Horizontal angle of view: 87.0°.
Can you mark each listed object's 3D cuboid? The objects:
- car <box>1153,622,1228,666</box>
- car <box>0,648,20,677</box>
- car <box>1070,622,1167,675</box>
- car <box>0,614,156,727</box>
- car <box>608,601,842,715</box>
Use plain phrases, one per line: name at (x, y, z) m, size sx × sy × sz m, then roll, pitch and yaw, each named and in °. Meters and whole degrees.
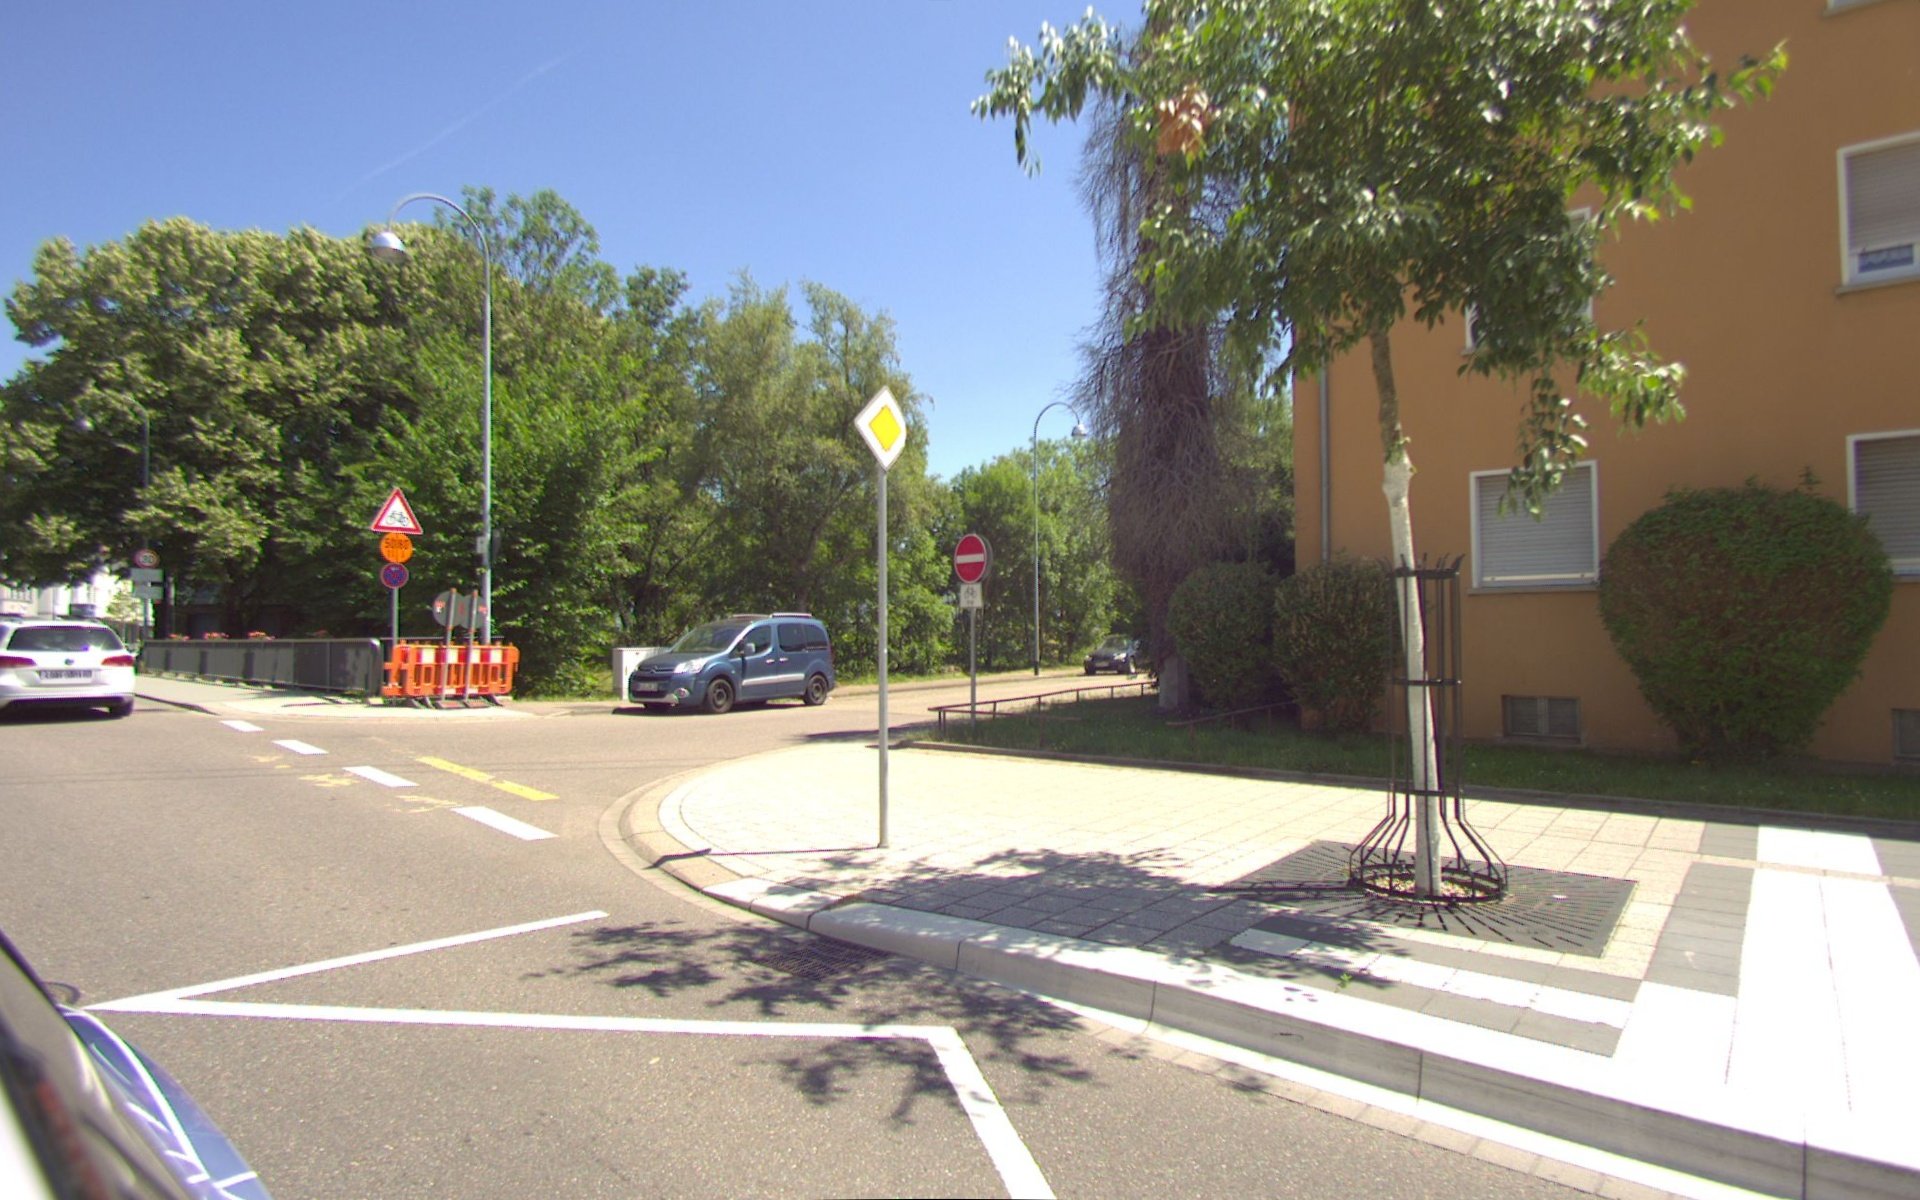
car at (10.137, 1.918, 44.316) m, size 1.992 × 1.815 × 4.392 m, roll -1°, pitch -2°, yaw 30°
car at (-60.012, 3.767, 61.562) m, size 1.971 × 1.729 × 4.001 m, roll 0°, pitch -5°, yaw -2°
car at (5.793, 1.738, 36.601) m, size 1.992 × 1.815 × 4.392 m, roll -2°, pitch -3°, yaw 30°
car at (-14.045, 1.018, 15.550) m, size 4.287 × 1.518 × 1.972 m, roll -2°, pitch -2°, yaw 42°
car at (-4.285, 1.107, 19.165) m, size 1.812 × 1.888 × 4.392 m, roll -4°, pitch -4°, yaw 30°
